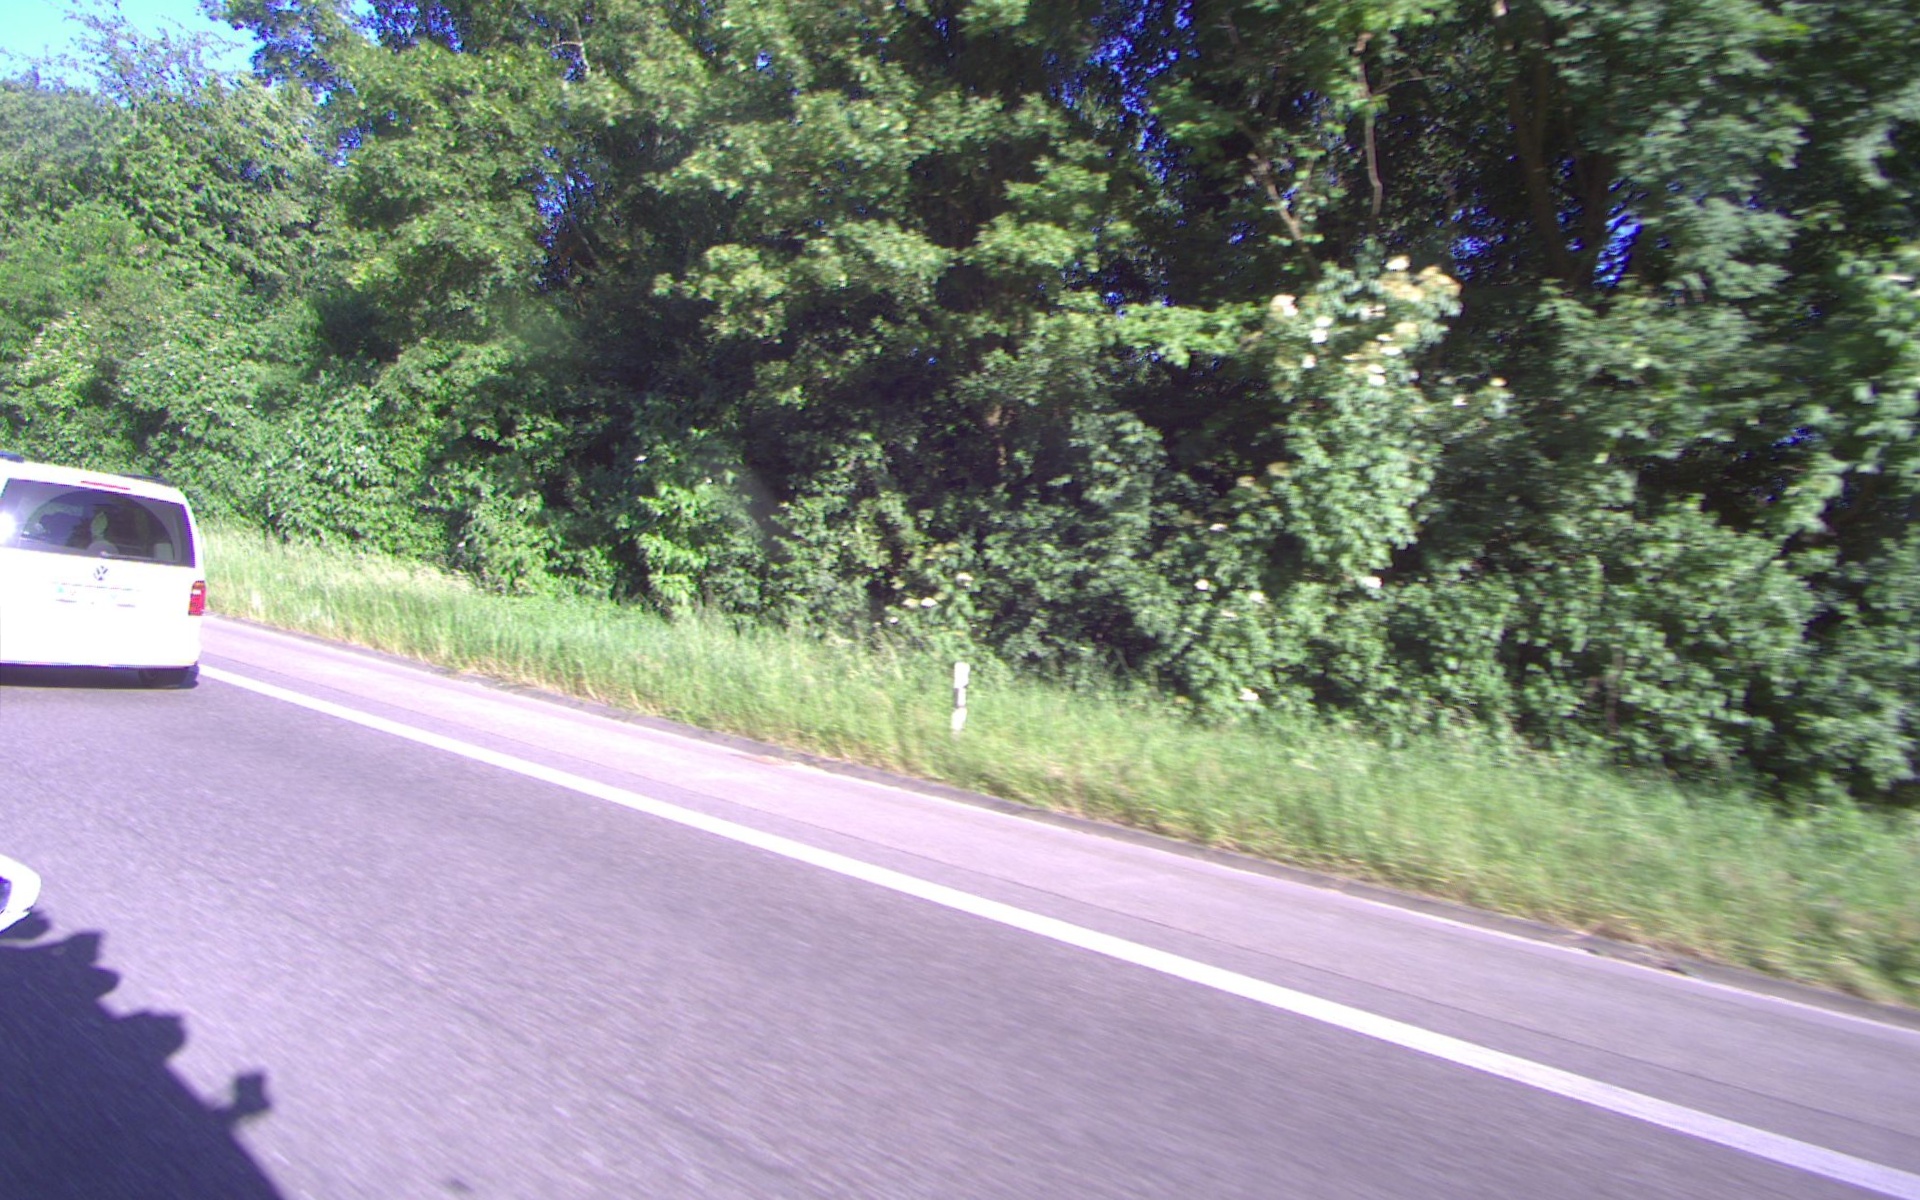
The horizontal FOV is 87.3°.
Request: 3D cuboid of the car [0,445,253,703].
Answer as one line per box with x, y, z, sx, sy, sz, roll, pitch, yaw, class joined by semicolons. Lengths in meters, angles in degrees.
-8.548;-0.325;9.019;4.511;1.834;1.803;6;-2;31;car
